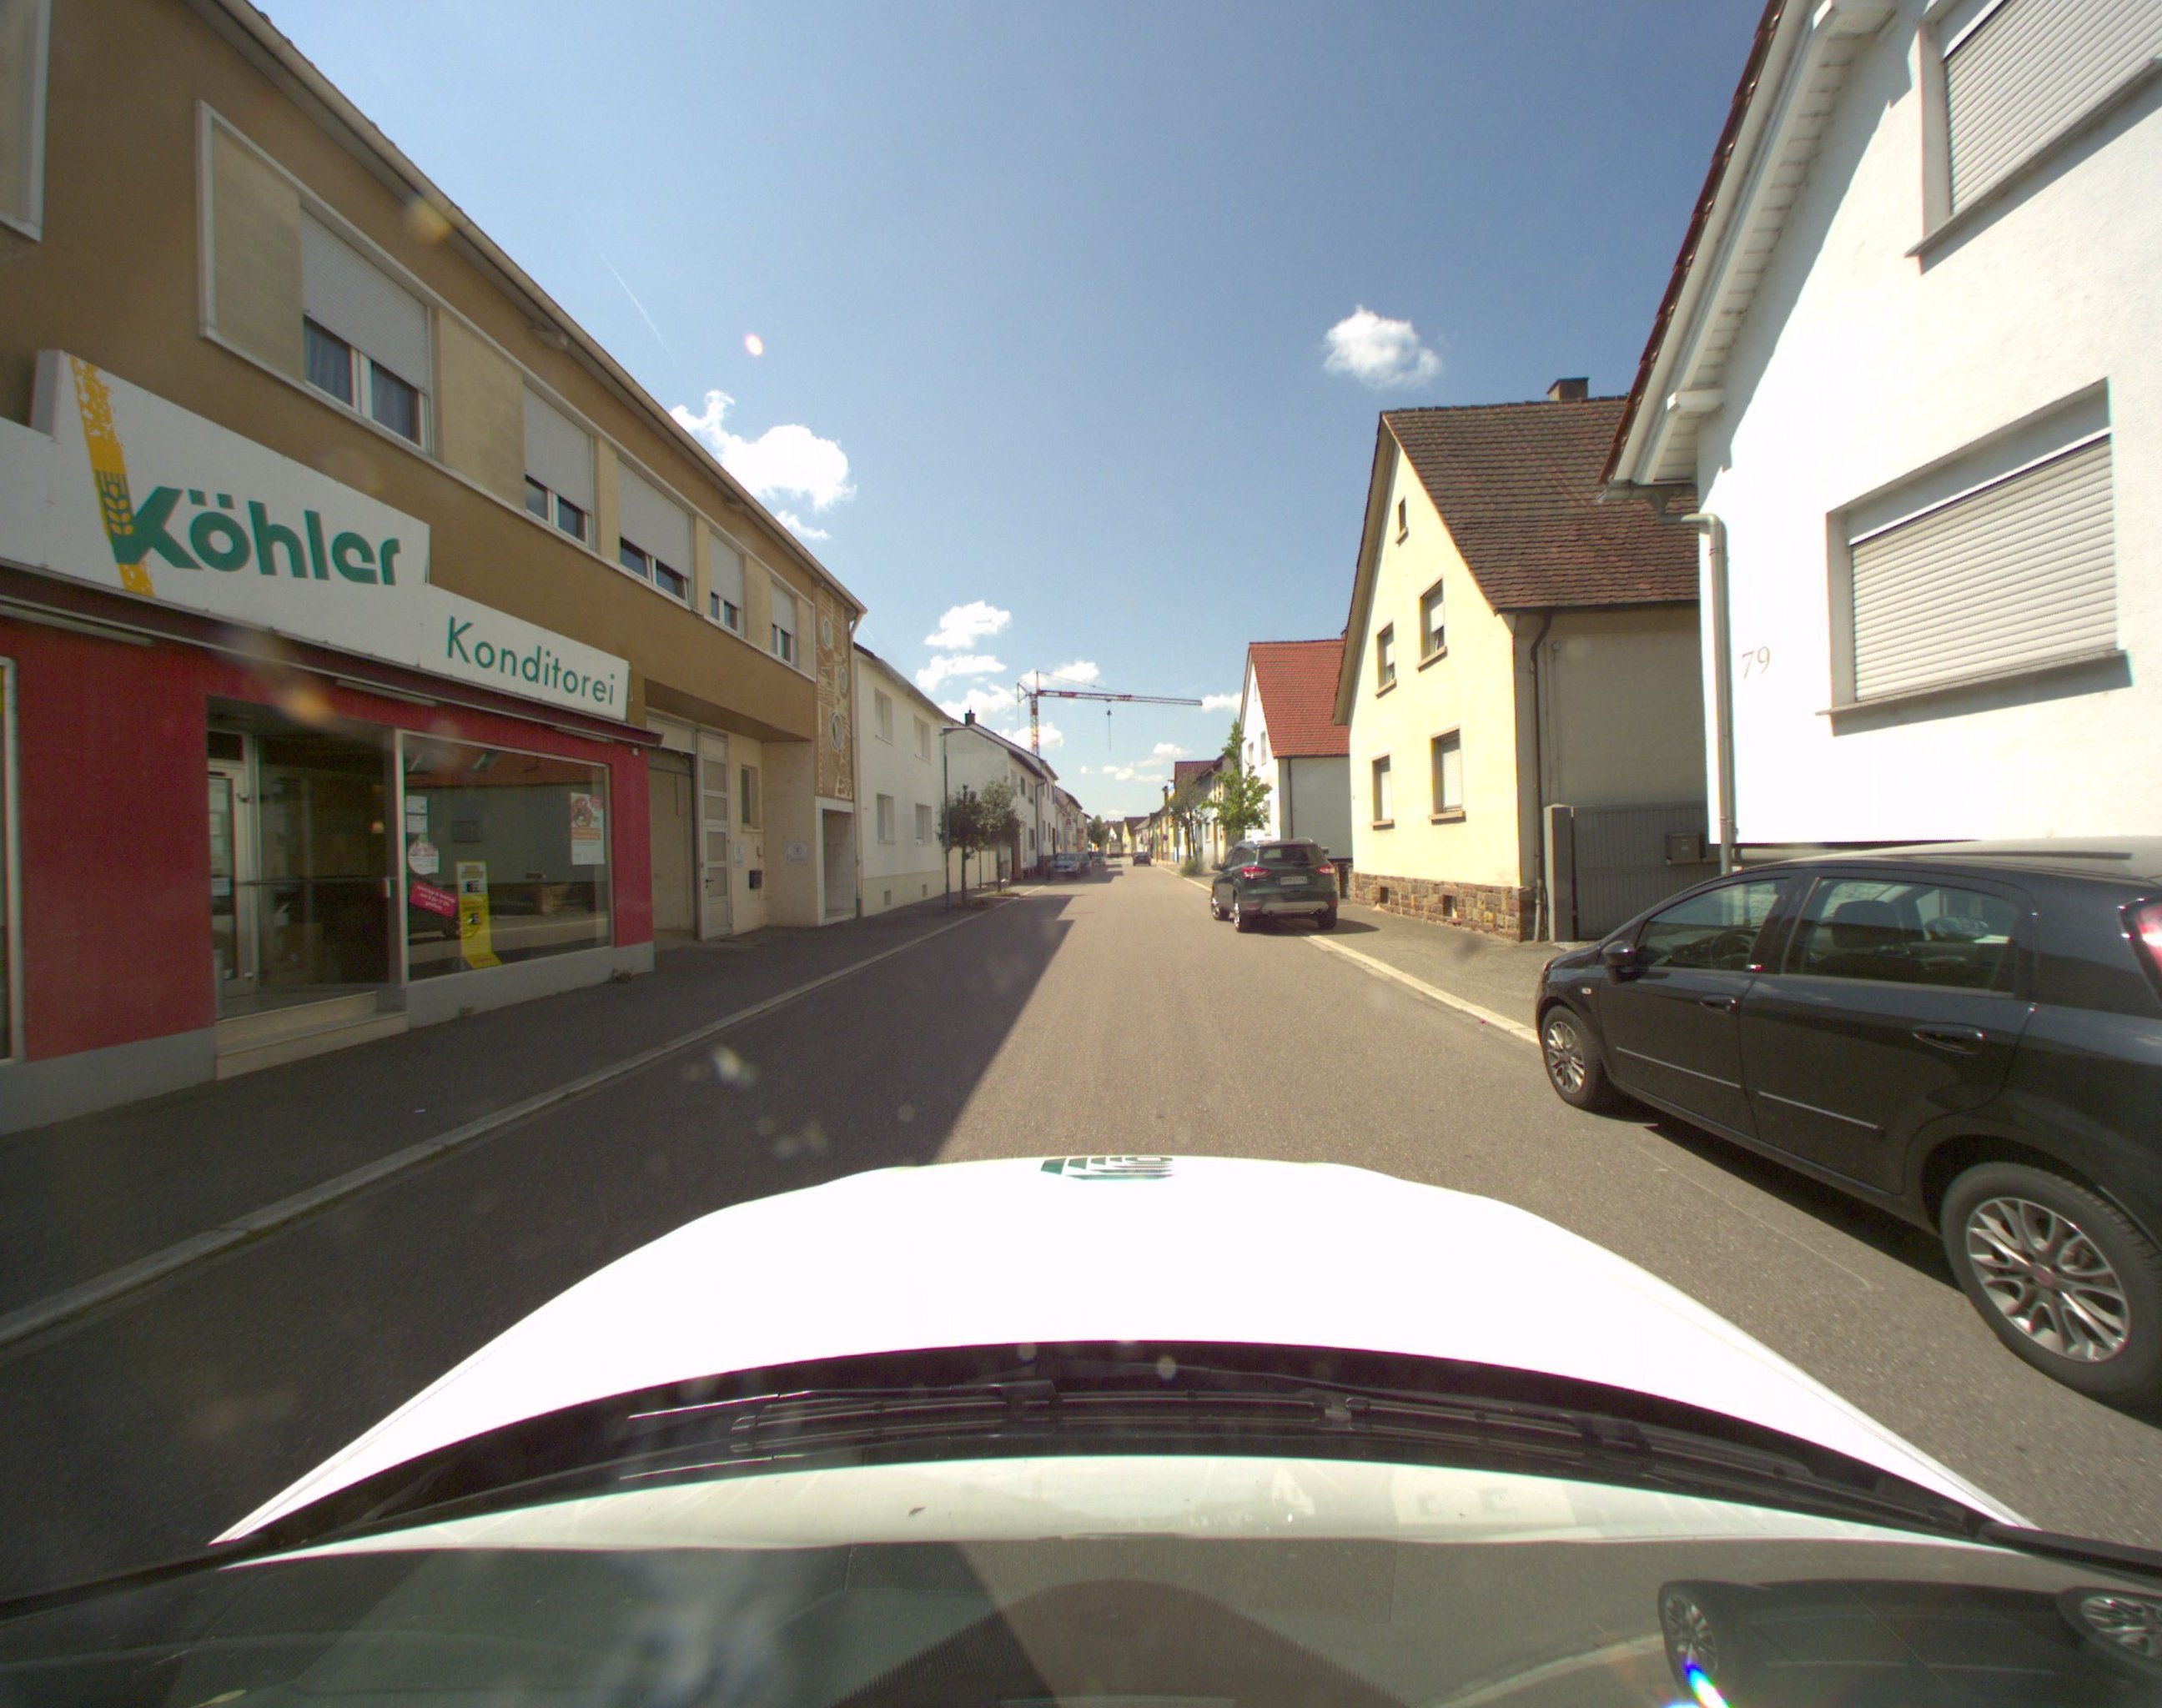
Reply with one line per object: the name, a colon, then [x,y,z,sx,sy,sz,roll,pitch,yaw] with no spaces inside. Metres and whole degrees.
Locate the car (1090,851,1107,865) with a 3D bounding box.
car: [2.042,0.440,94.442,1.716,1.555,4.176,0,0,3]

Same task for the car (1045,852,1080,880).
car: [-1.045,0.683,48.402,1.751,1.525,4.292,-2,0,2]

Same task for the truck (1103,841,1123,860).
truck: [7.036,-0.775,182.374,3.370,3.865,13.917,-3,0,-1]

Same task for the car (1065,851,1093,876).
car: [-0.092,0.611,55.050,1.647,1.609,4.063,-2,0,2]

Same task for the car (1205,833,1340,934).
car: [3.670,0.510,16.353,1.722,1.717,4.276,-2,0,1]

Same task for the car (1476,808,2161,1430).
car: [3.528,0.624,3.686,1.610,1.495,3.974,-4,0,3]

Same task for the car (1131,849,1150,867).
car: [6.103,0.447,84.008,1.776,1.753,4.002,-3,0,2]
